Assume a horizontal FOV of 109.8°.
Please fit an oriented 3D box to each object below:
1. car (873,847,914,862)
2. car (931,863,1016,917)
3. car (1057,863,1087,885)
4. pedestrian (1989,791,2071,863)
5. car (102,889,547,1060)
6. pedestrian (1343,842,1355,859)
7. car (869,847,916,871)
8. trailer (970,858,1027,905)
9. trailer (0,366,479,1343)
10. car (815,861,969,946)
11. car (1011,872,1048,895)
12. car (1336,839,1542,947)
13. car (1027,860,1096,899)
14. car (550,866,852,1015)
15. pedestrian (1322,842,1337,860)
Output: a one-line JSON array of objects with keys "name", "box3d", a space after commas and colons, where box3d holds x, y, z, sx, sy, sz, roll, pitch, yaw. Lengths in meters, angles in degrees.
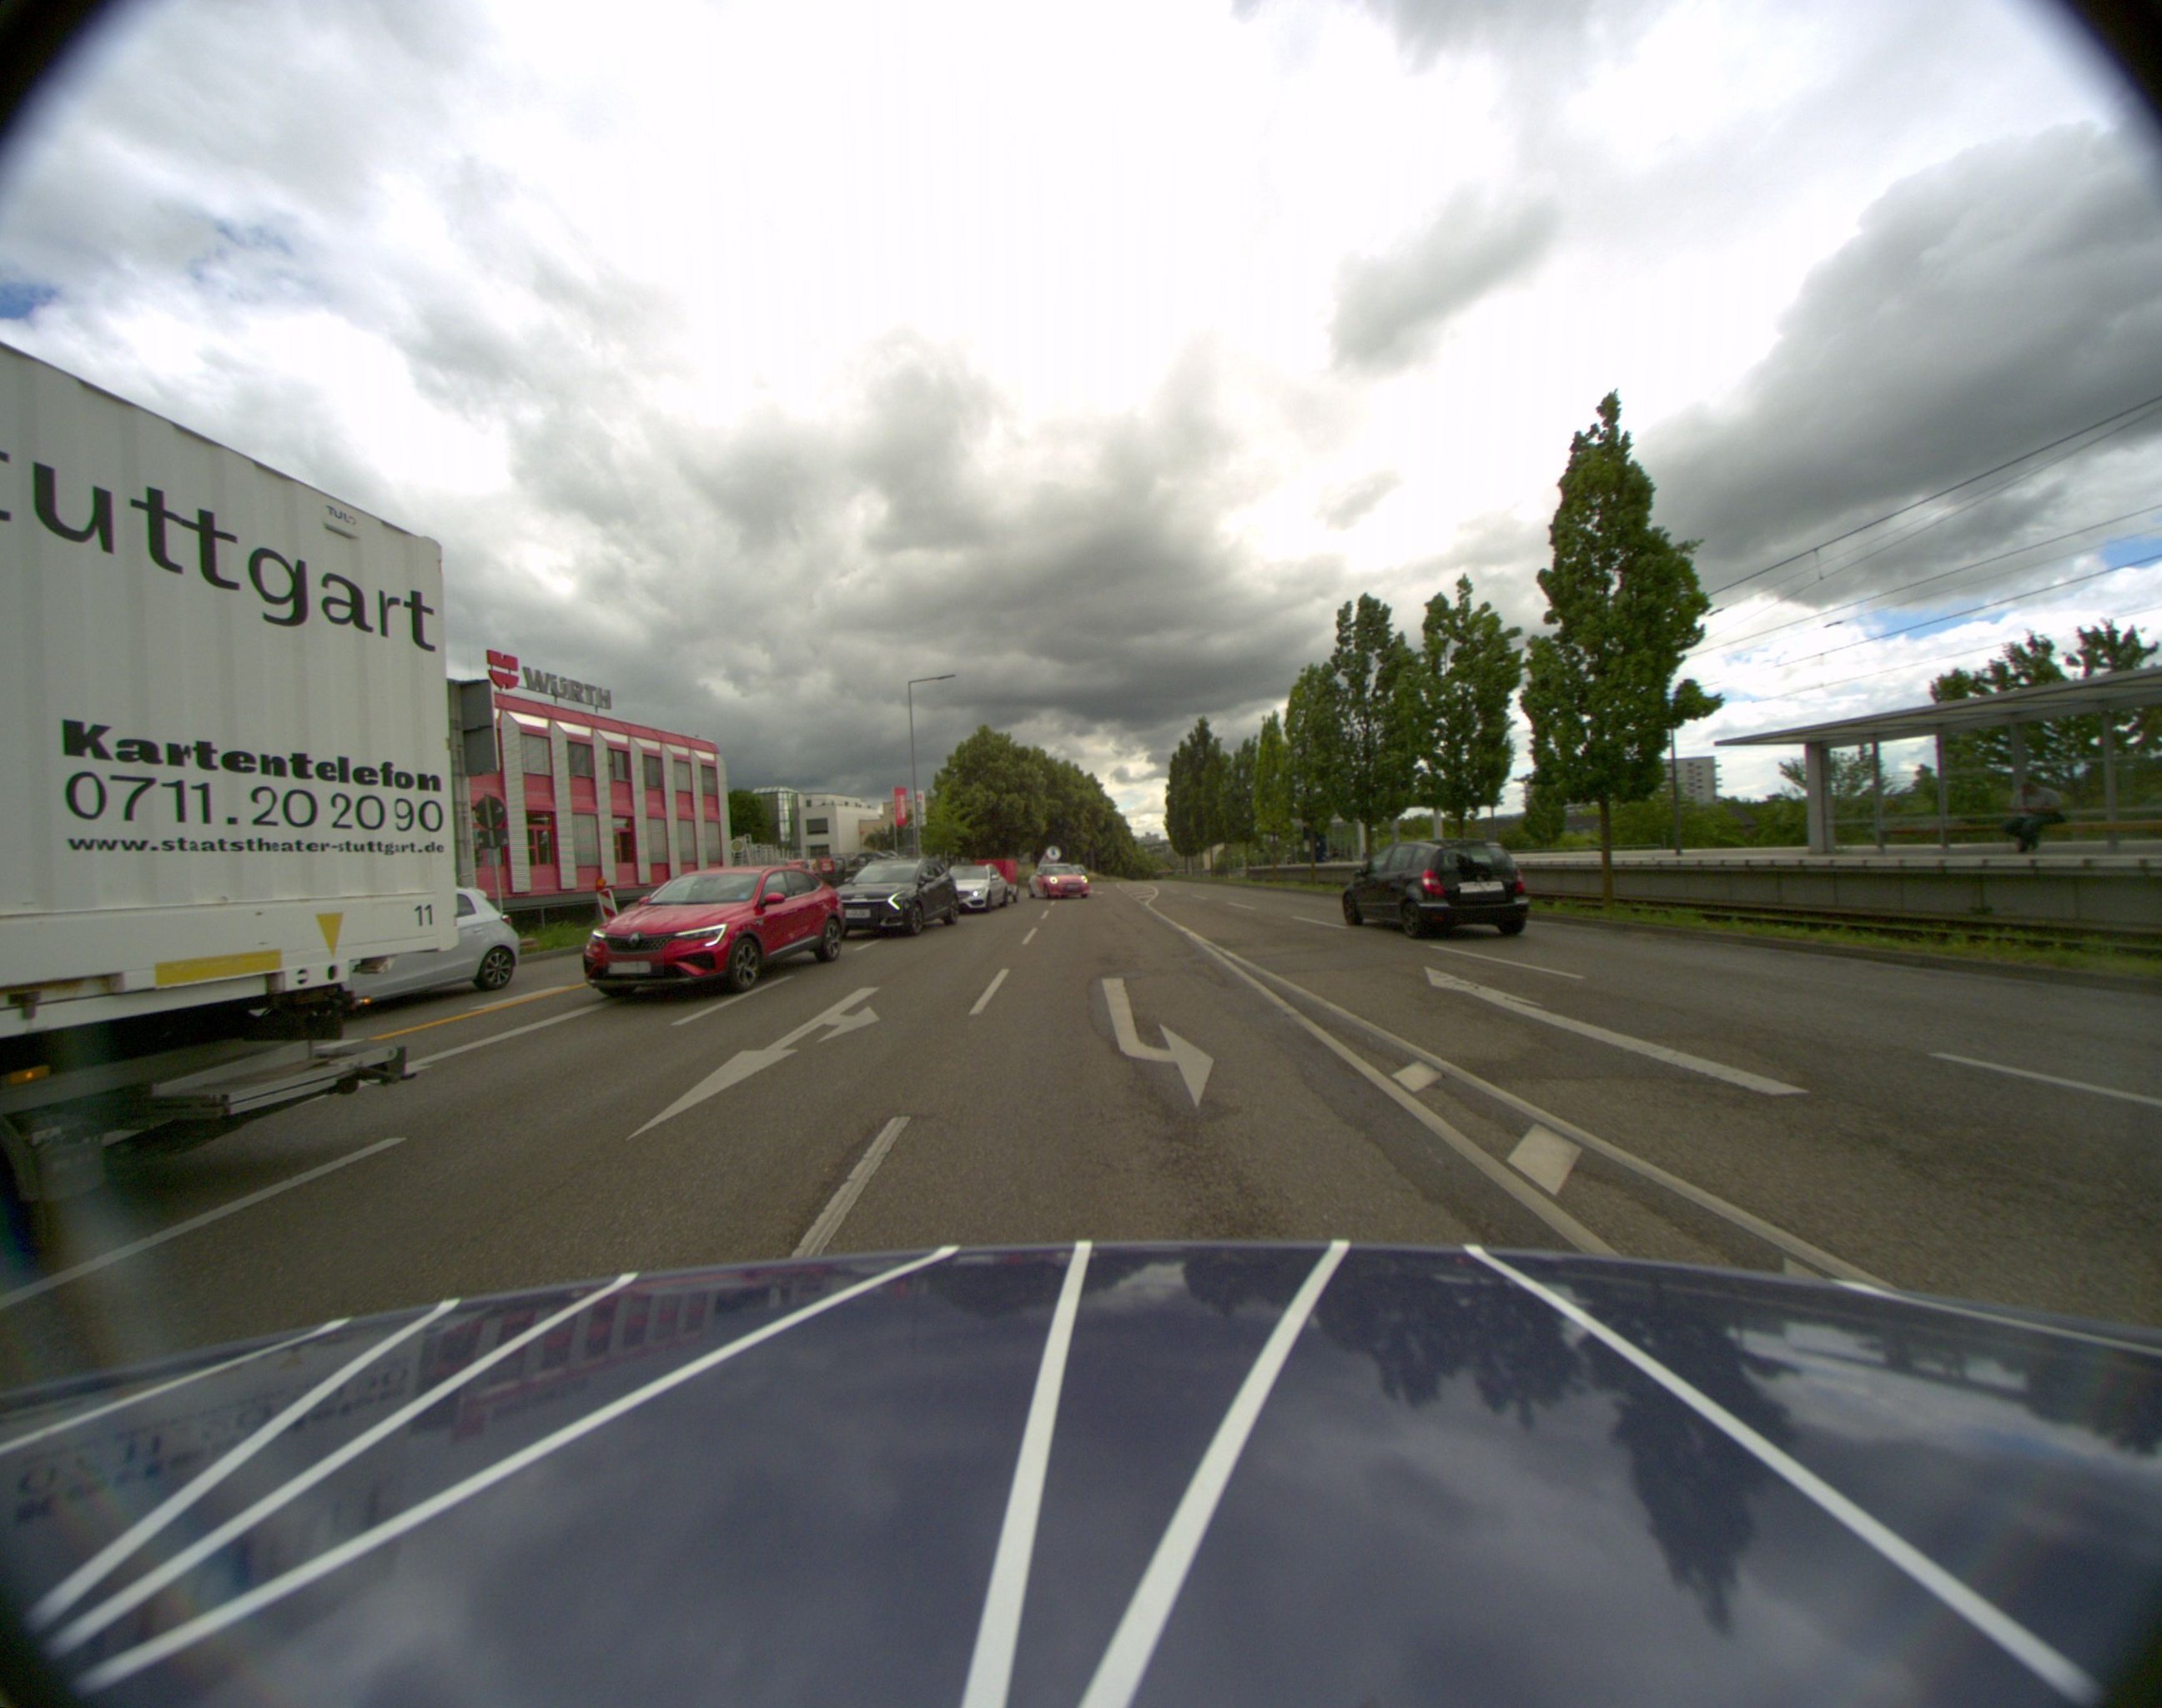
[{"name": "car", "box3d": [-19.792, 0.054, 80.408, 3.762, 1.355, 1.757, -3, -2, 10]}, {"name": "car", "box3d": [-3.287, 1.064, 24.109, 1.675, 1.439, 4.491, -2, 0, 5]}, {"name": "car", "box3d": [-0.648, 1.459, 56.705, 1.805, 1.439, 4.001, -2, 0, 5]}, {"name": "pedestrian", "box3d": [17.488, -0.487, 14.013, 0.611, 1.261, 0.660, -2, -2, -4]}, {"name": "car", "box3d": [-8.694, 1.265, 9.271, 1.627, 1.449, 3.689, -3, 0, 1]}, {"name": "pedestrian", "box3d": [17.422, -0.197, 49.437, 0.608, 1.072, 0.470, -2, -1, 0]}, {"name": "car", "box3d": [-17.383, 0.510, 70.225, 3.762, 1.946, 1.645, -3, -2, 10]}, {"name": "trailer", "box3d": [-2.986, 0.980, 28.004, 1.412, 1.584, 3.305, -2, 0, 5]}, {"name": "trailer", "box3d": [-5.417, 0.020, 1.117, 2.572, 3.684, 7.764, -2, 0, 2]}, {"name": "car", "box3d": [-4.060, 1.000, 17.173, 1.848, 1.552, 4.406, -2, 0, 7]}, {"name": "car", "box3d": [-3.241, 1.911, 48.827, 1.739, 1.365, 4.003, -2, -2, 5]}, {"name": "car", "box3d": [6.009, 0.602, 13.264, 1.730, 1.564, 3.706, -2, 0, -2]}, {"name": "car", "box3d": [-0.866, 1.015, 31.306, 1.725, 1.449, 3.690, -2, 0, -20]}, {"name": "car", "box3d": [-4.850, 0.997, 10.533, 1.711, 1.515, 4.320, -2, 0, 4]}, {"name": "pedestrian", "box3d": [16.470, -0.194, 50.431, 0.763, 1.192, 0.665, -2, -1, 0]}]
